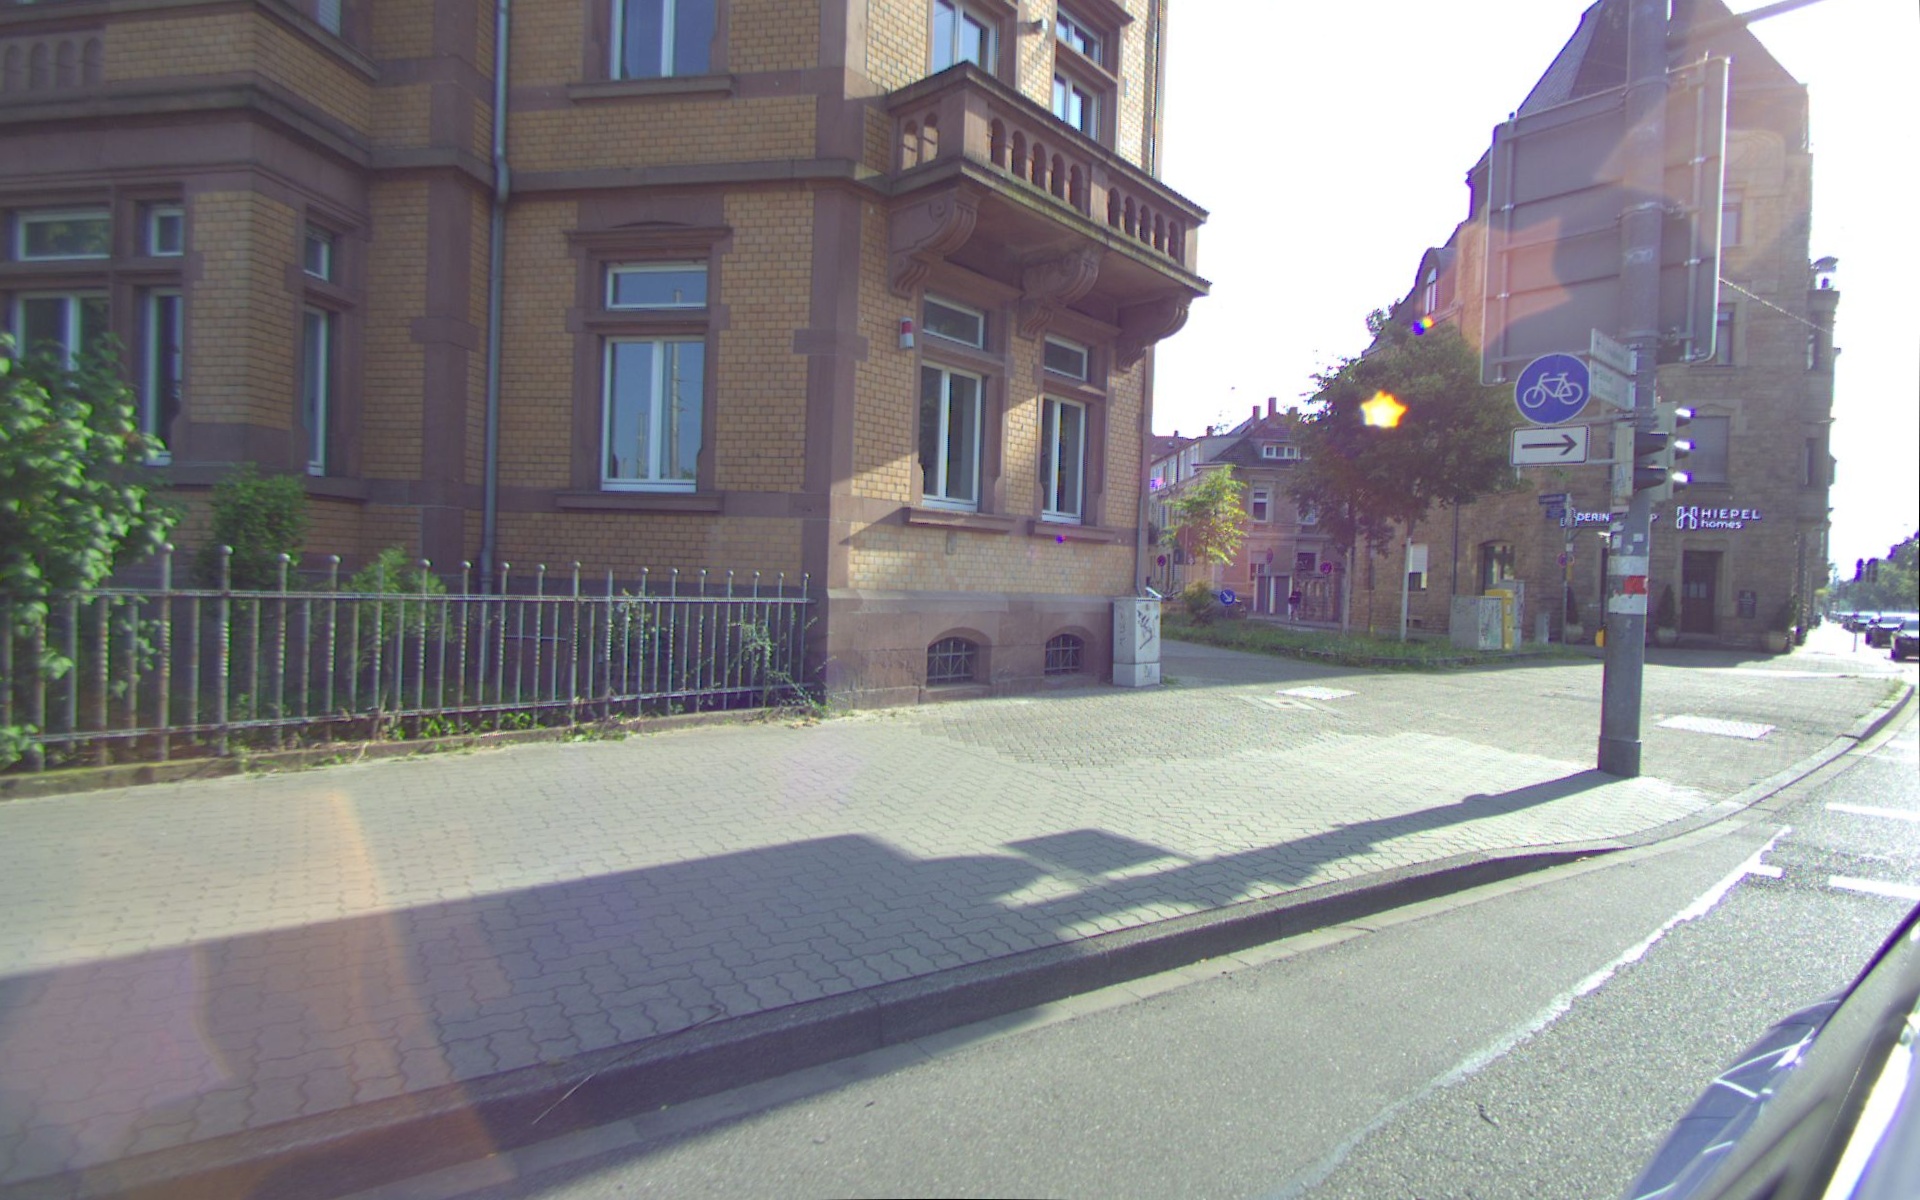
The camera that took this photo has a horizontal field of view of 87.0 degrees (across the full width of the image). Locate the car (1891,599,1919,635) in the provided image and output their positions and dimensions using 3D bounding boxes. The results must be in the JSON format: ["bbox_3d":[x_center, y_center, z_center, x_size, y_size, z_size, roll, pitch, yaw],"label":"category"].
[{"bbox_3d":[57.379,1.021,60.737,1.992,2.039,3.940,2,1,41],"label":"car"}]

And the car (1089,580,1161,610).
[{"bbox_3d":[9.665,-0.280,59.224,3.946,1.672,1.989,1,0,17],"label":"car"}]

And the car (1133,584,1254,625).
[{"bbox_3d":[9.464,0.144,41.141,4.421,1.533,1.976,1,0,33],"label":"car"}]

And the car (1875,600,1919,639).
[{"bbox_3d":[45.810,0.923,49.051,1.992,1.805,3.941,2,1,40],"label":"car"}]

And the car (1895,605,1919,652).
[{"bbox_3d":[32.824,0.956,33.999,1.833,1.522,4.204,1,0,40],"label":"car"}]

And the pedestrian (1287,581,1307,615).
[{"bbox_3d":[16.862,-0.104,50.654,0.749,1.696,0.783,1,0,0],"label":"pedestrian"}]

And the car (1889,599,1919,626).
[{"bbox_3d":[76.011,0.962,81.179,1.992,2.039,3.940,2,1,41],"label":"car"}]
